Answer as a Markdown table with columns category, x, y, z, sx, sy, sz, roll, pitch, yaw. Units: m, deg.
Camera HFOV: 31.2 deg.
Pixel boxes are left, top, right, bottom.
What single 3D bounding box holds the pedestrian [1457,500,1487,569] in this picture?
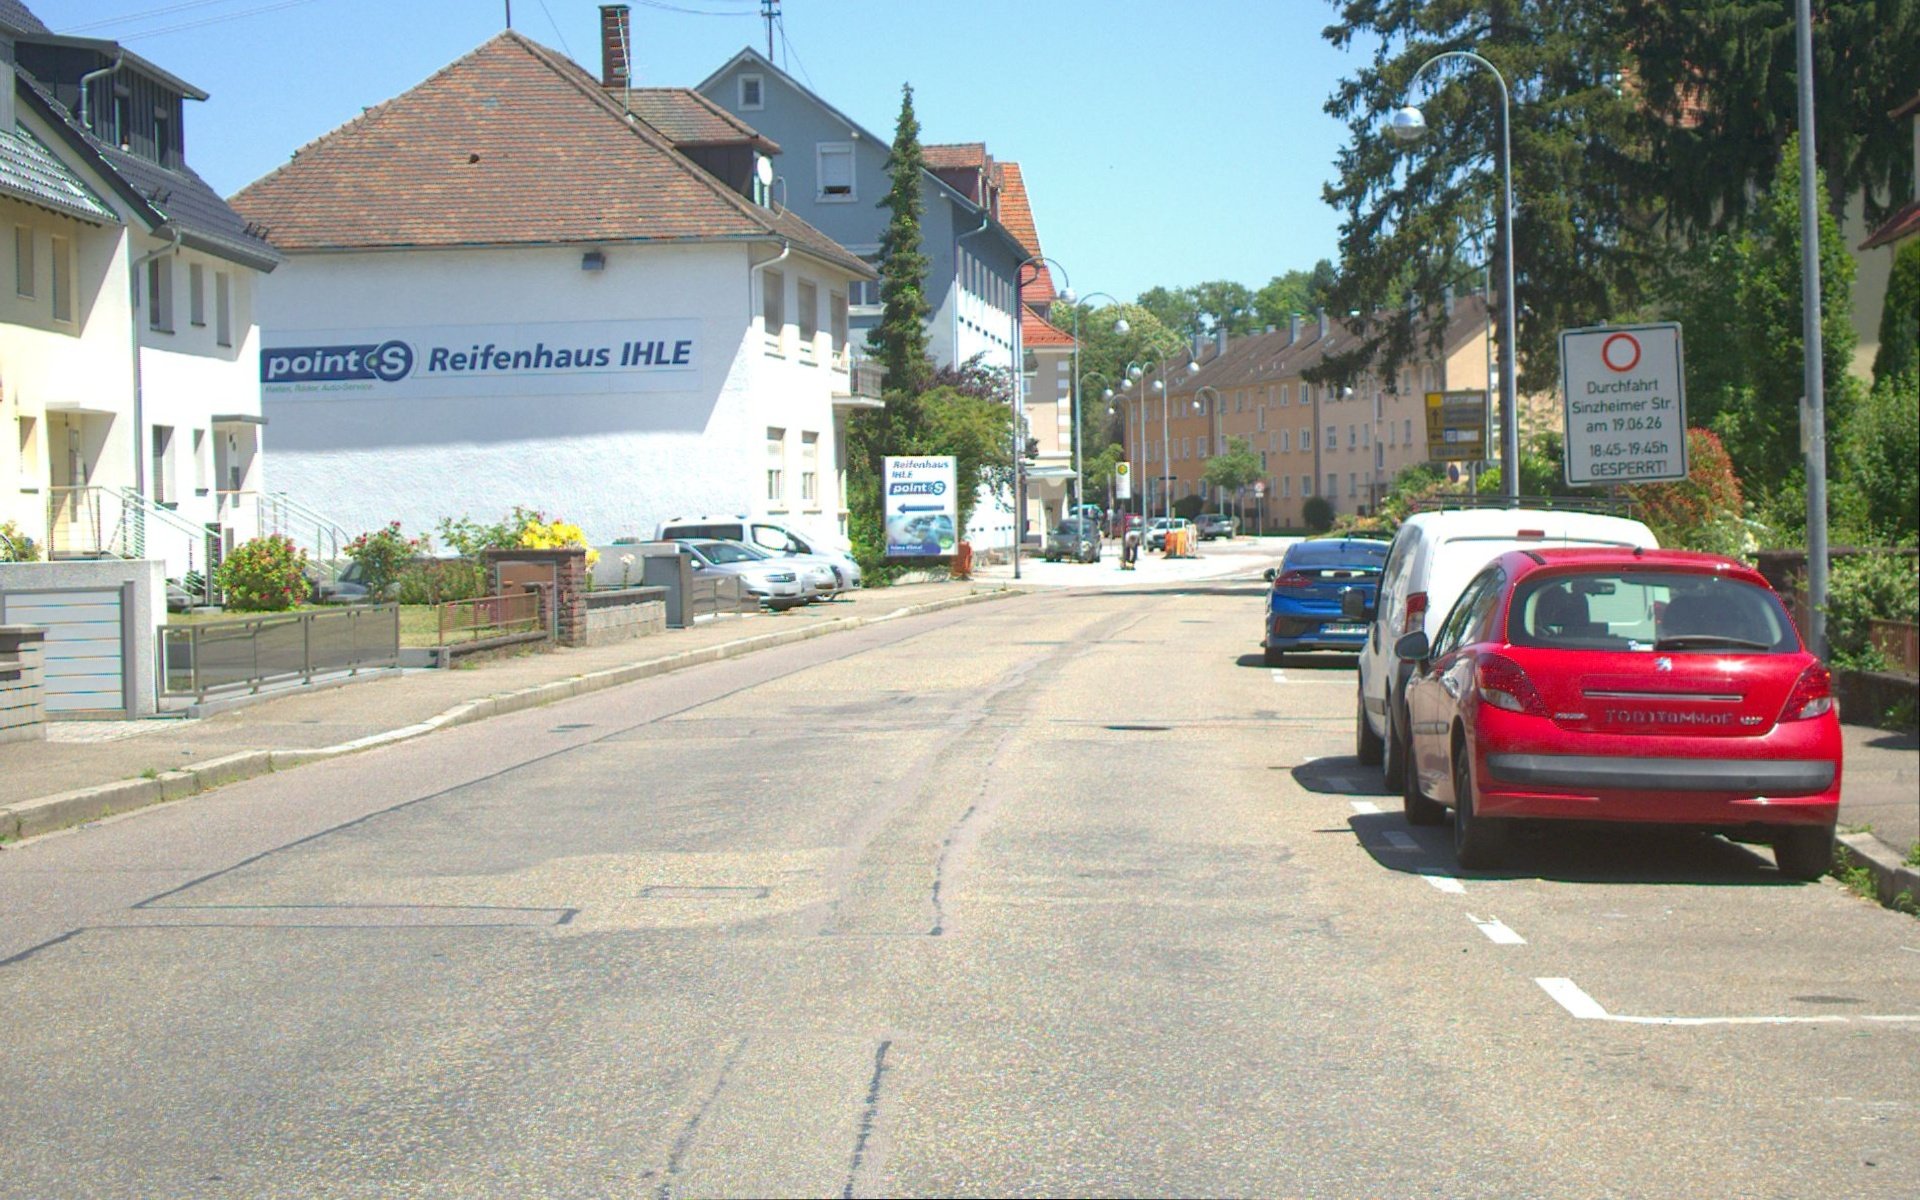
| category | x | y | z | sx | sy | sz | roll | pitch | yaw |
| --- | --- | --- | --- | --- | --- | --- | --- | --- | --- |
| pedestrian | 13.208 | -1.676 | 88.683 | 0.689 | 1.764 | 0.691 | 0 | 0 | 12 |

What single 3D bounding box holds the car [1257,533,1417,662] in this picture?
| category | x | y | z | sx | sy | sz | roll | pitch | yaw |
| --- | --- | --- | --- | --- | --- | --- | --- | --- | --- |
| car | 4.459 | -0.069 | 41.009 | 1.778 | 1.400 | 4.286 | 1 | 1 | 5 |

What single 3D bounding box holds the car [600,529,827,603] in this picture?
| category | x | y | z | sx | sy | sz | roll | pitch | yaw |
| --- | --- | --- | --- | --- | --- | --- | --- | --- | --- |
| car | -4.736 | -0.667 | 65.825 | 4.138 | 1.339 | 1.907 | 1 | 2 | 39 |

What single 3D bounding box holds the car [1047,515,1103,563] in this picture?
| category | x | y | z | sx | sy | sz | roll | pitch | yaw |
| --- | --- | --- | --- | --- | --- | --- | --- | --- | --- |
| car | 4.073 | -2.164 | 121.168 | 1.757 | 1.650 | 4.000 | 0 | 1 | 5 |

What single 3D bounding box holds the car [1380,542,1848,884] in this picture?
| category | x | y | z | sx | sy | sz | roll | pitch | yaw |
| --- | --- | --- | --- | --- | --- | --- | --- | --- | --- |
| car | 3.098 | 0.460 | 17.018 | 1.664 | 1.450 | 4.000 | 1 | 1 | 2 |

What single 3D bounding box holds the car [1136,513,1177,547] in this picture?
| category | x | y | z | sx | sy | sz | roll | pitch | yaw |
| --- | --- | --- | --- | --- | --- | --- | --- | --- | --- |
| car | 9.221 | -3.293 | 161.419 | 1.595 | 1.601 | 3.411 | 0 | 1 | -2 |

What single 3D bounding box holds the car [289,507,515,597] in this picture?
| category | x | y | z | sx | sy | sz | roll | pitch | yaw |
| --- | --- | --- | --- | --- | --- | --- | --- | --- | --- |
| car | -9.846 | -0.866 | 60.530 | 3.997 | 1.505 | 1.796 | 1 | 3 | 41 |

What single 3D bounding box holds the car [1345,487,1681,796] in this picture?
| category | x | y | z | sx | sy | sz | roll | pitch | yaw |
| --- | --- | --- | --- | --- | --- | --- | --- | --- | --- |
| car | 3.439 | 0.223 | 22.009 | 1.664 | 1.749 | 4.000 | 2 | 1 | 3 |

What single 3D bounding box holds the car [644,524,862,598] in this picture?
| category | x | y | z | sx | sy | sz | roll | pitch | yaw |
| --- | --- | --- | --- | --- | --- | --- | --- | --- | --- |
| car | -4.119 | -0.790 | 68.769 | 4.129 | 1.389 | 1.828 | -1 | 2 | 5 |

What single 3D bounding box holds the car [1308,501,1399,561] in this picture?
| category | x | y | z | sx | sy | sz | roll | pitch | yaw |
| --- | --- | --- | --- | --- | --- | --- | --- | --- | --- |
| car | 10.226 | -1.810 | 89.173 | 1.795 | 1.505 | 3.998 | 1 | 2 | 15 |

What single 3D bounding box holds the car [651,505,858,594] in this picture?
| category | x | y | z | sx | sy | sz | roll | pitch | yaw |
| --- | --- | --- | --- | --- | --- | --- | --- | --- | --- |
| car | -4.241 | -1.054 | 71.307 | 4.129 | 1.768 | 1.829 | -1 | 2 | 1 |

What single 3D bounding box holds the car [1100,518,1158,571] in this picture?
| category | x | y | z | sx | sy | sz | roll | pitch | yaw |
| --- | --- | --- | --- | --- | --- | --- | --- | --- | --- |
| car | 5.573 | -1.839 | 112.862 | 1.757 | 1.650 | 4.000 | -1 | 2 | 5 |
